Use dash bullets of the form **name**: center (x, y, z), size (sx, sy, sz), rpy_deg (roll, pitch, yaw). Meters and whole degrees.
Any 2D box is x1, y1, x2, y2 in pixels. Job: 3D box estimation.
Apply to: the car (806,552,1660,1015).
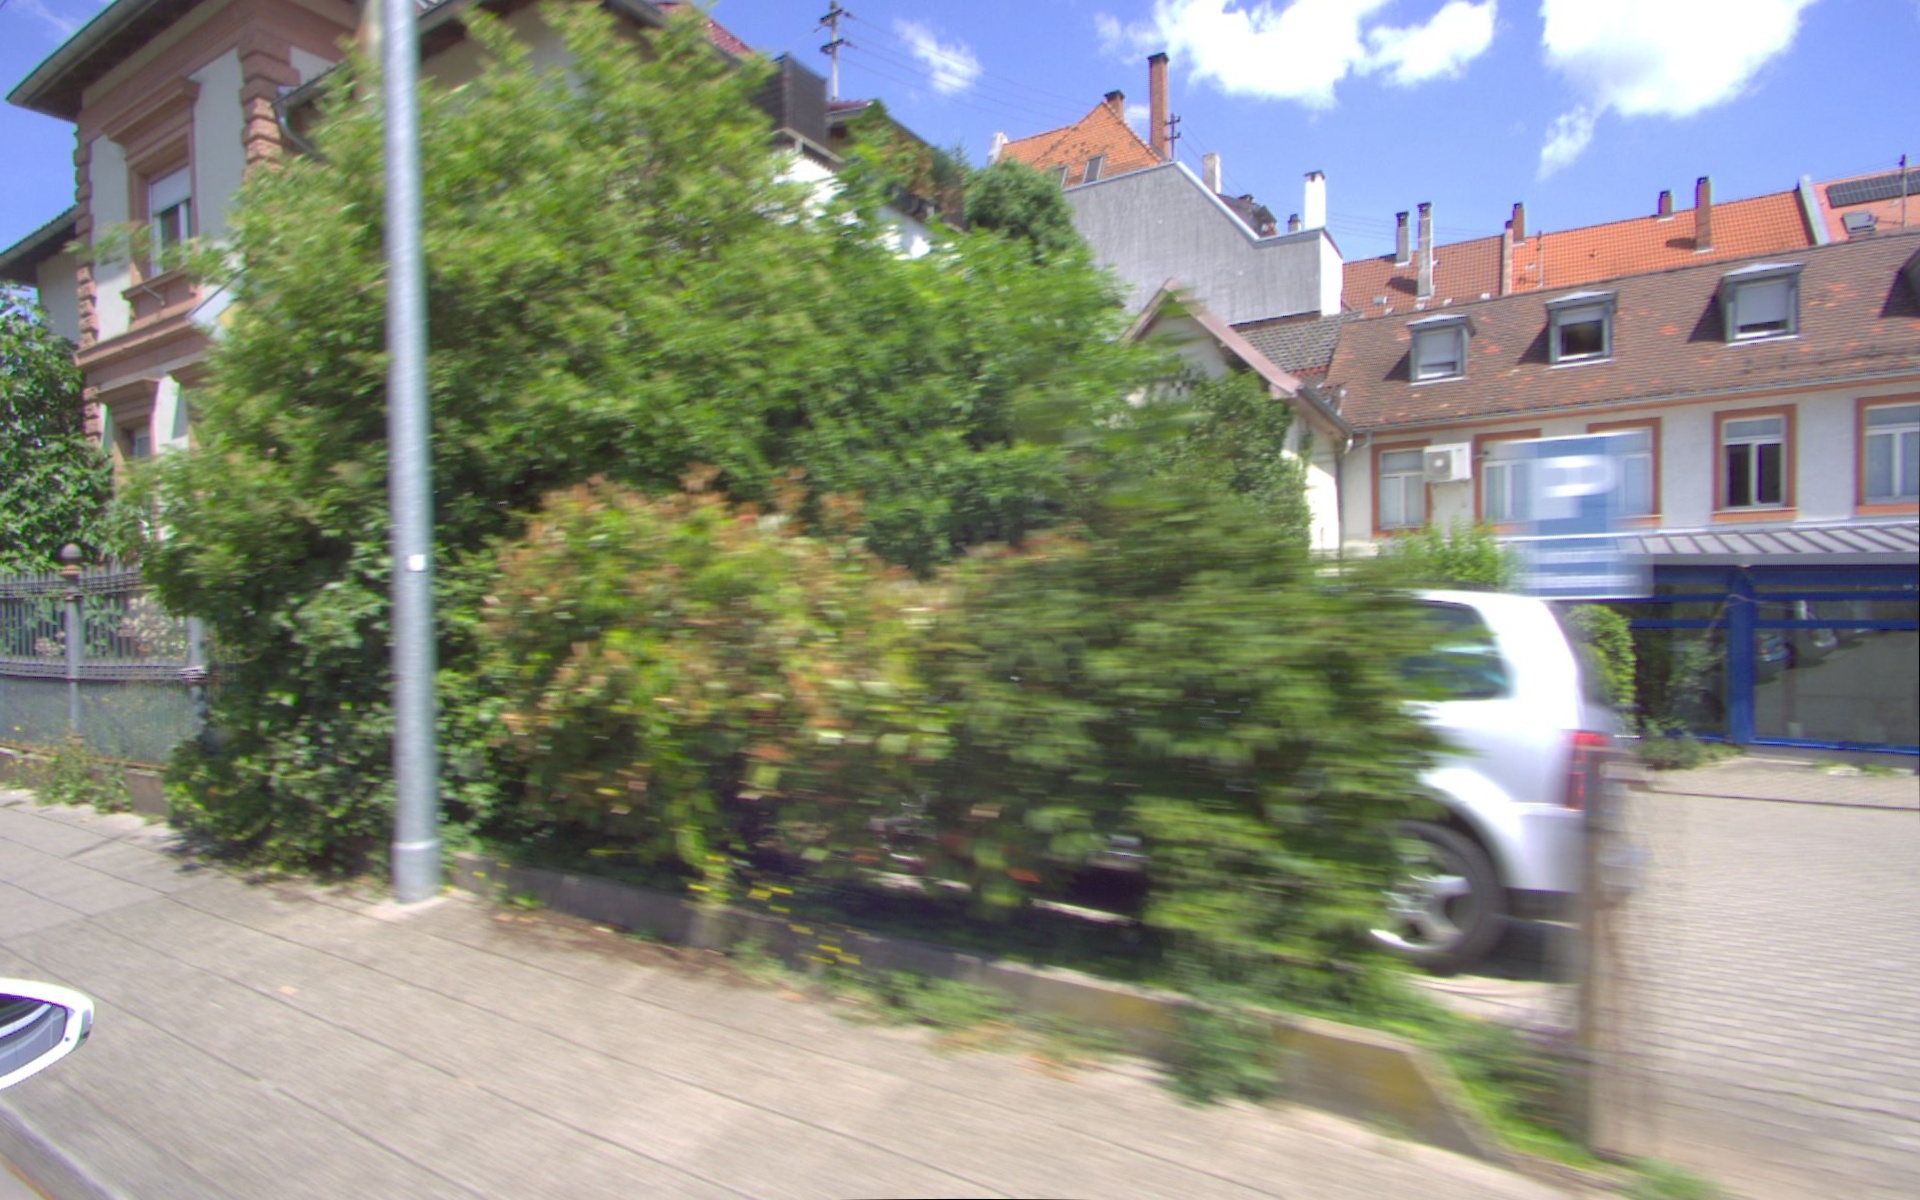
- **car**: center (1.268, 0.812, 5.398), size (3.944, 1.646, 1.760), rpy_deg (-3, -6, 32)
